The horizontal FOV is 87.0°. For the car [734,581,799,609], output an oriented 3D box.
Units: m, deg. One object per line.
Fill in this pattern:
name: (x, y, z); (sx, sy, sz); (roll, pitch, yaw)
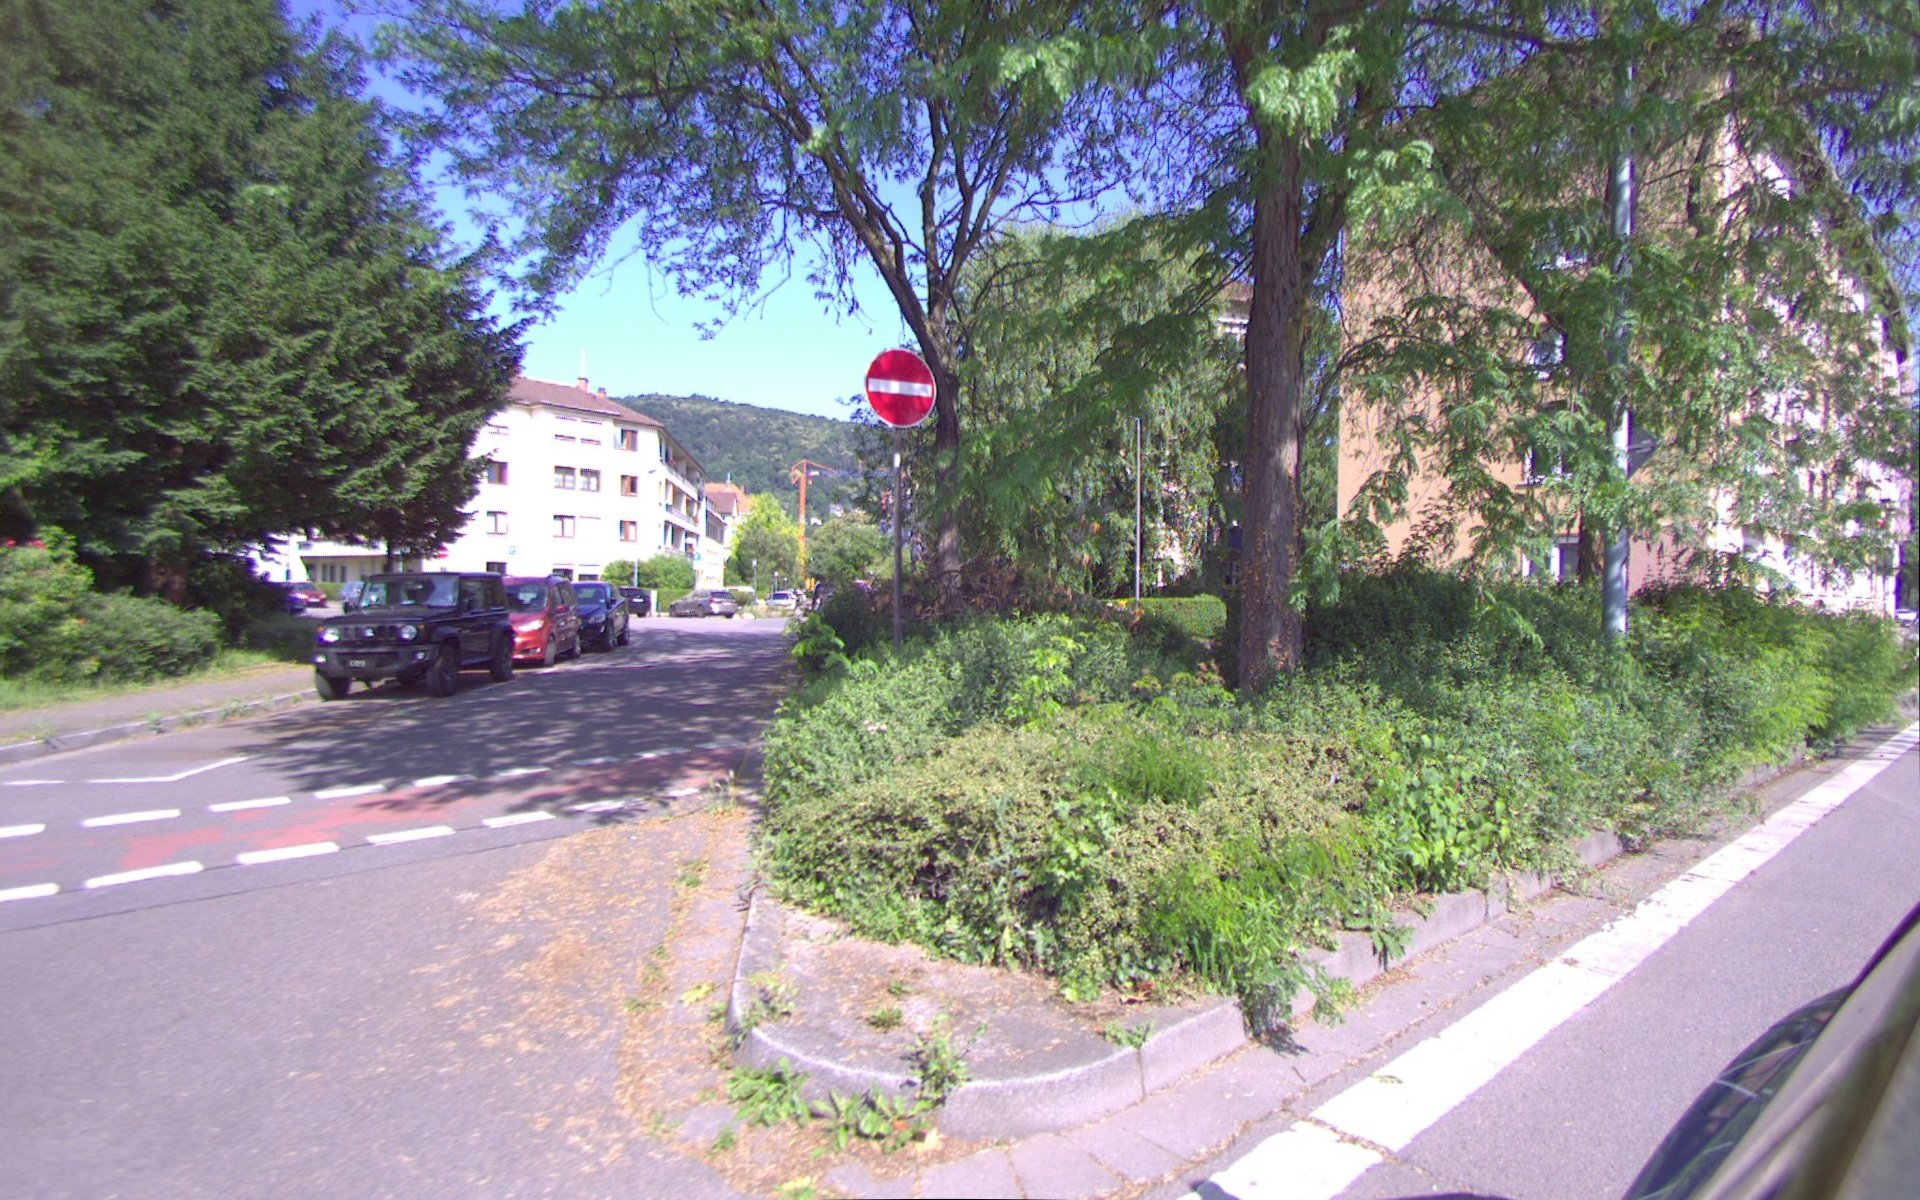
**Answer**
car: (-12.336, -0.334, 64.788); (3.919, 1.663, 2.003); (1, 0, -7)

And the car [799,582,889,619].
car: (-5.583, 0.016, 48.617); (3.962, 1.660, 1.891); (1, 1, 27)

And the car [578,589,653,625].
car: (-16.400, 0.324, 48.054); (3.825, 1.616, 1.691); (1, 0, 41)

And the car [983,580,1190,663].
car: (2.588, 0.383, 21.163); (3.954, 1.567, 1.814); (1, 0, 41)

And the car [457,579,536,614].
car: (-20.795, -0.191, 45.375); (3.784, 1.491, 1.738); (1, 0, 40)

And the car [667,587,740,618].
car: (-13.257, 0.112, 52.242); (3.986, 1.482, 1.818); (2, 1, 43)

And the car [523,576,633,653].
car: (-9.151, 0.293, 24.558); (1.752, 1.694, 4.216); (0, 1, -10)

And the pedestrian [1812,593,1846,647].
pedestrian: (26.708, 0.614, 31.110); (0.809, 1.629, 0.656); (1, 0, -40)

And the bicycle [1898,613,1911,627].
bicycle: (68.899, 1.482, 73.814); (0.650, 0.982, 1.835); (2, 1, 43)

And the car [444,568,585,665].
car: (-8.523, 0.275, 19.689); (1.628, 1.694, 3.855); (1, 1, -10)

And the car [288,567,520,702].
car: (-7.717, 0.407, 14.428); (1.653, 1.675, 3.594); (0, 1, -6)
